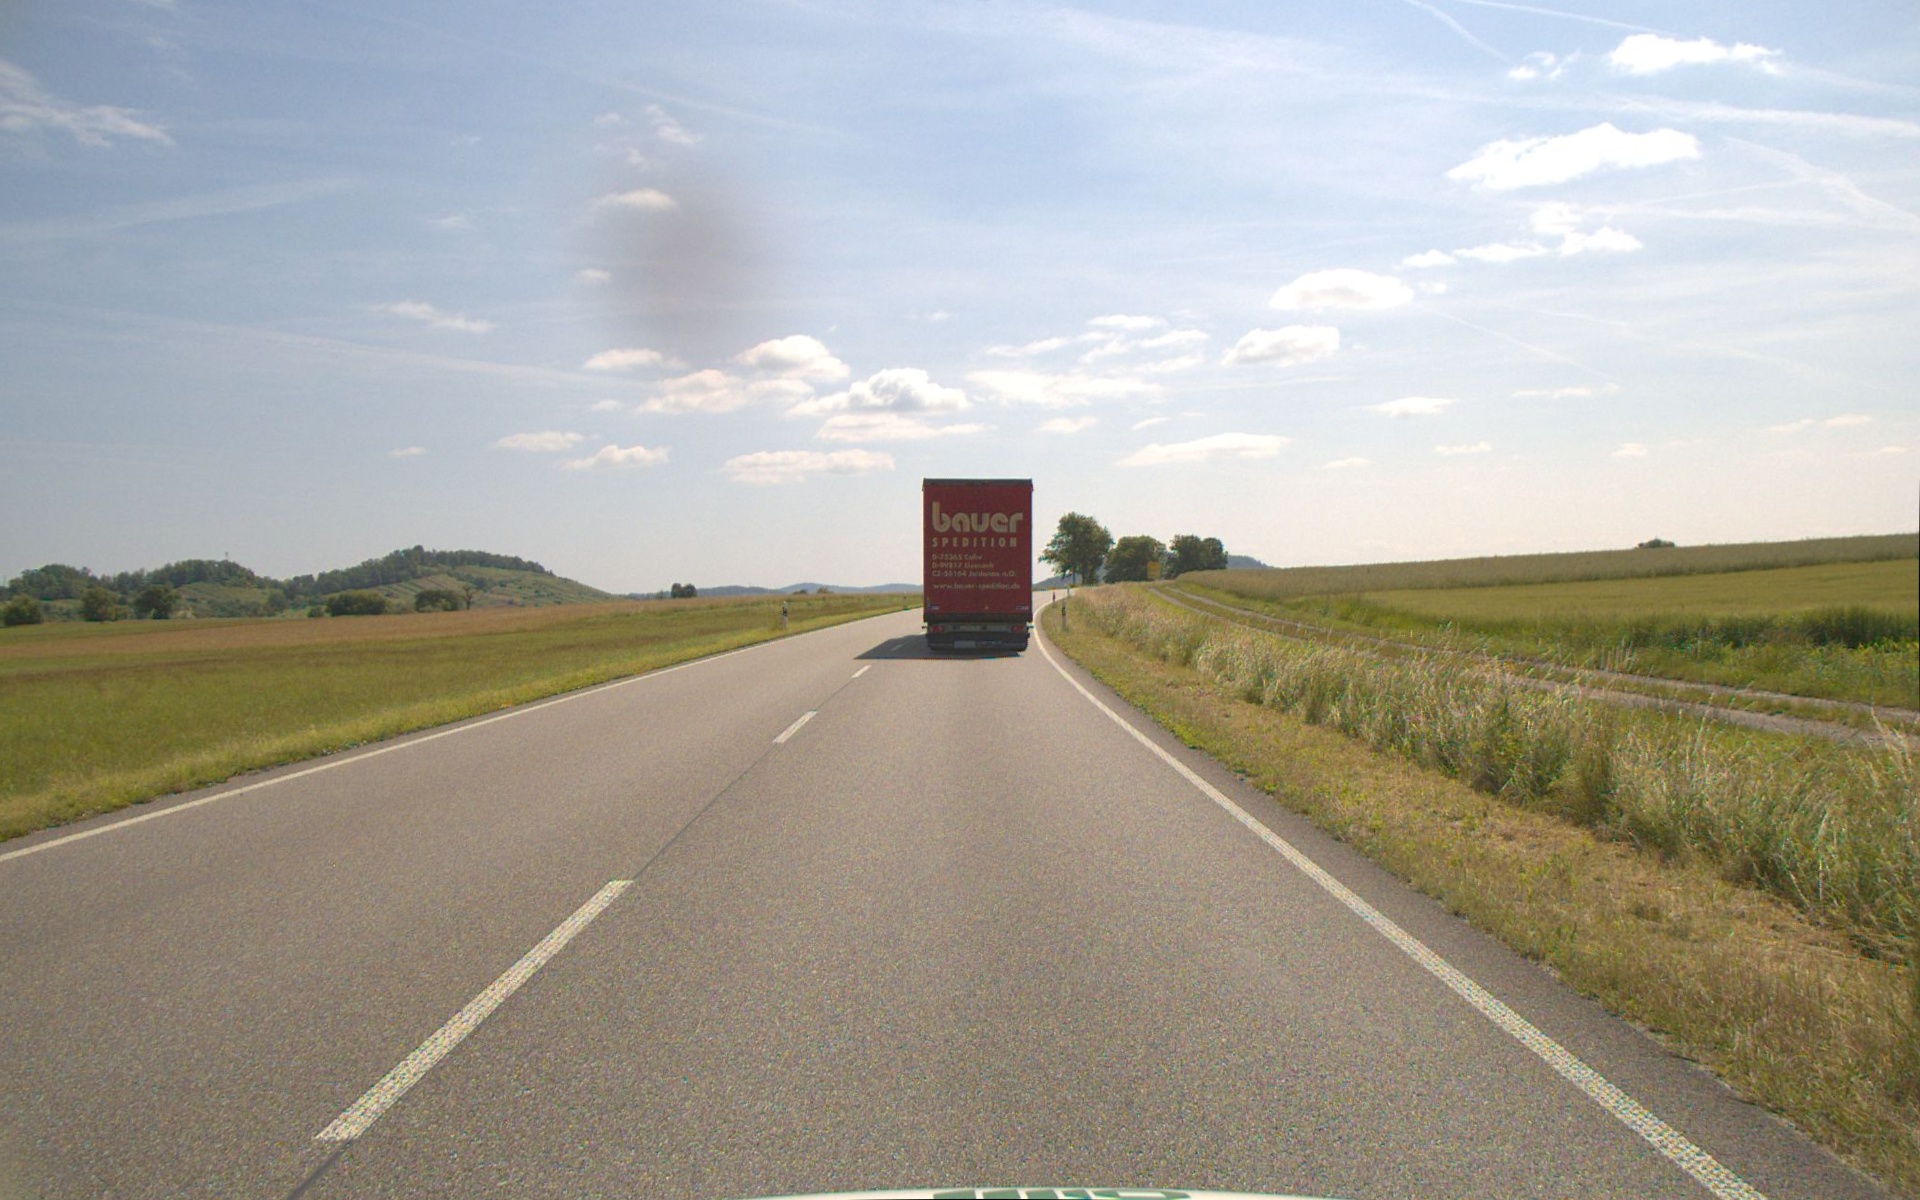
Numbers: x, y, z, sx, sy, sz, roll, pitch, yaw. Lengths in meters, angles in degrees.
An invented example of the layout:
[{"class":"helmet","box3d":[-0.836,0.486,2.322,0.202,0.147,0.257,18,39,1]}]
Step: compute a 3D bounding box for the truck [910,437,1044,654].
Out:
[{"class":"truck","box3d":[0.465,-1.249,41.859,2.914,4.795,9.367,1,0,1]}]
